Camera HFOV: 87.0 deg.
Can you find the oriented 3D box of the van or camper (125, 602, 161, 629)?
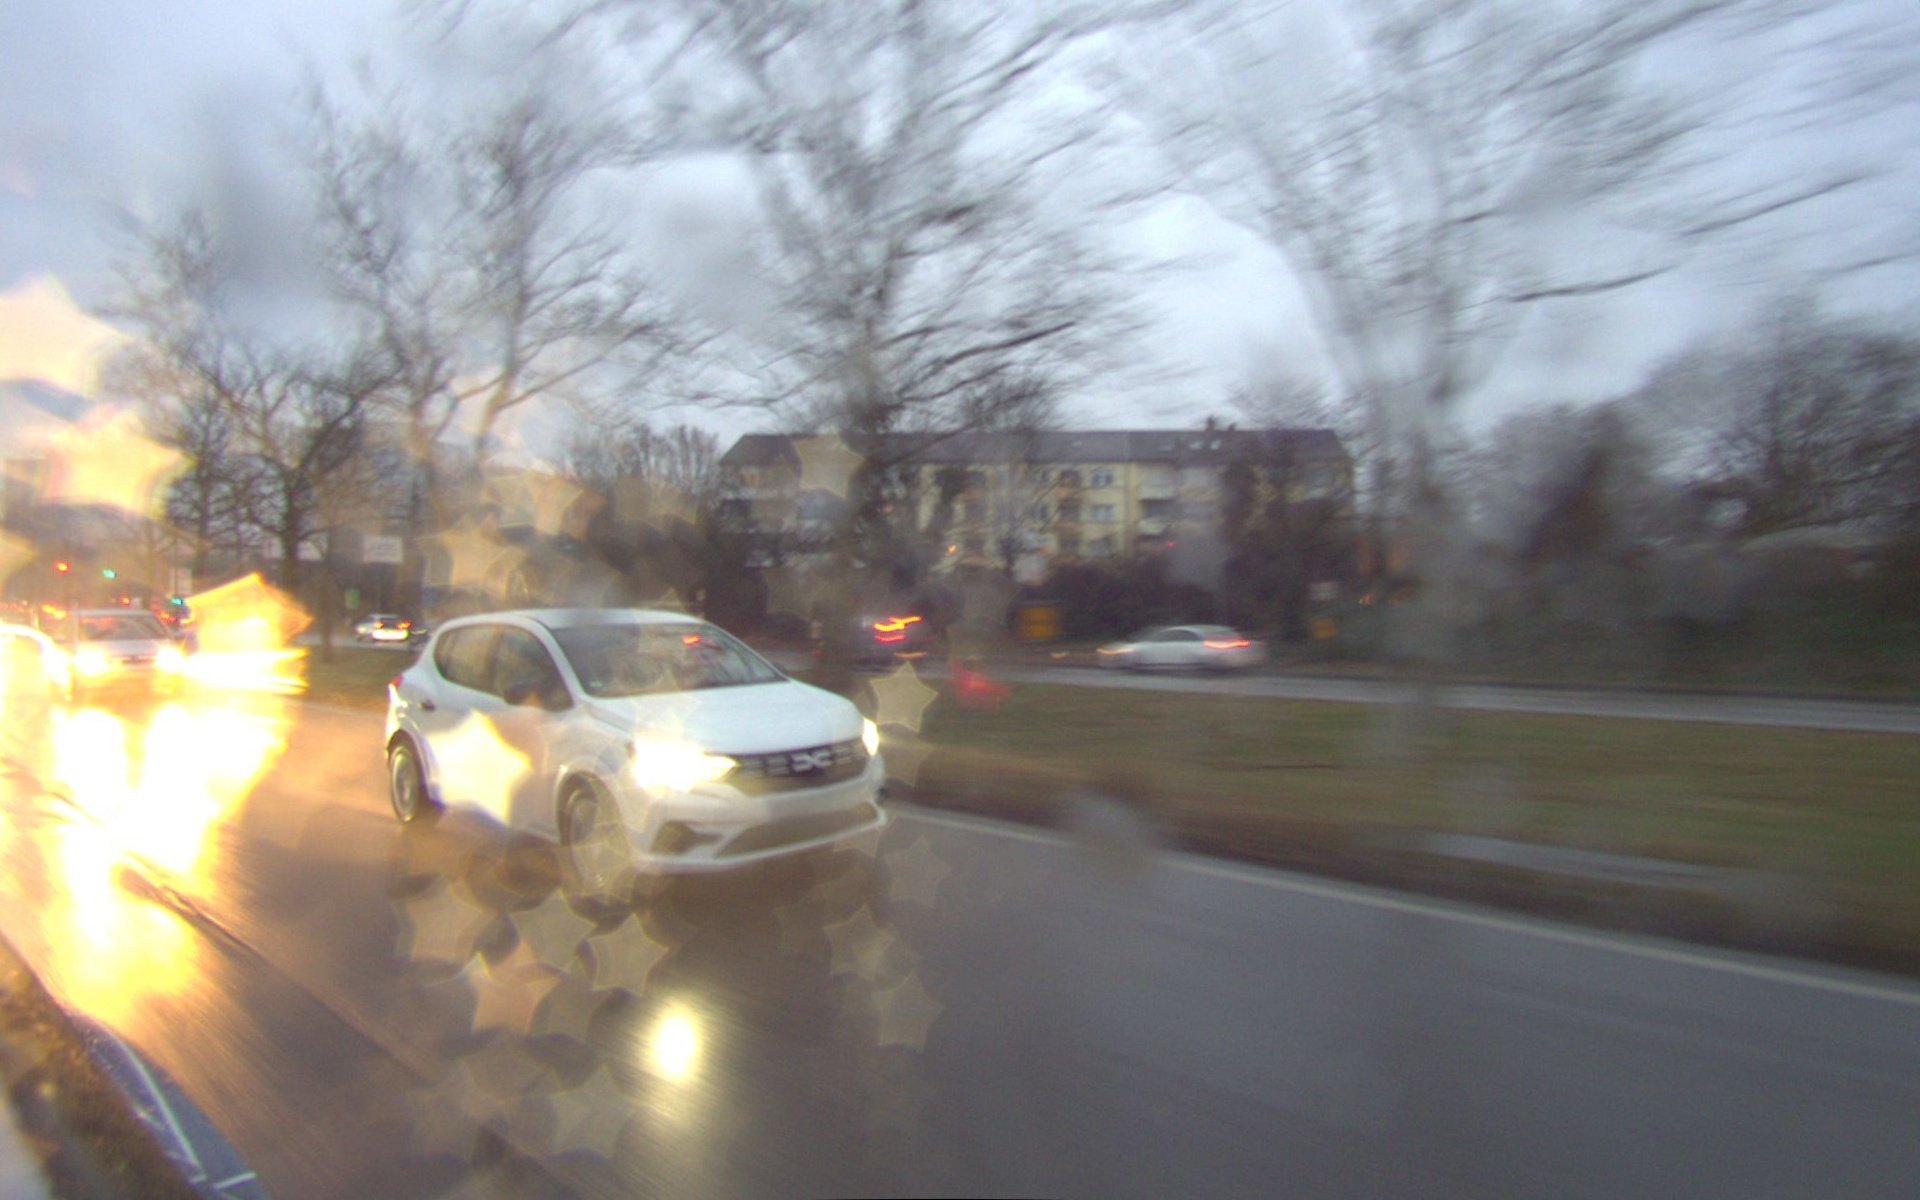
[{"bbox_3d":[-79.825,1.525,98.858,4.737,2.629,1.942,-1,-1,42],"label":"van or camper"}]

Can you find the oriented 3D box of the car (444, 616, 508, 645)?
[{"bbox_3d":[-27.034,1.670,56.422,4.271,1.500,1.700,-1,-1,42],"label":"car"}]

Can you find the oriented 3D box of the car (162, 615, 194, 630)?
[{"bbox_3d":[-68.859,1.999,89.057,3.999,1.302,1.521,-1,-1,42],"label":"car"}]

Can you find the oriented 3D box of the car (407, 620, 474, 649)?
[{"bbox_3d":[-25.746,1.680,50.140,3.955,1.364,1.631,-1,-1,42],"label":"car"}]

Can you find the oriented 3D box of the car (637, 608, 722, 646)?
[{"bbox_3d":[-11.632,1.090,41.869,3.790,1.479,1.614,-1,-1,42],"label":"car"}]

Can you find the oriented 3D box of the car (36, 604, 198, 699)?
[{"bbox_3d":[-15.964,0.893,19.087,4.164,1.611,1.743,-1,-1,42],"label":"car"}]

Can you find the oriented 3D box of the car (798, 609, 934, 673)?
[{"bbox_3d":[-2.743,1.138,28.921,3.979,1.694,1.600,-1,-2,42],"label":"car"}]

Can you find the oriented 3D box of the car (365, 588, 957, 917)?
[{"bbox_3d":[-2.157,0.707,6.527,4.224,1.451,1.706,-1,-1,42],"label":"car"}]

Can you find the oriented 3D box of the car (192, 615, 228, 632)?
[{"bbox_3d":[-59.822,1.884,80.696,3.999,1.321,1.521,-1,-1,42],"label":"car"}]

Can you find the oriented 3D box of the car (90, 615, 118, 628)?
[{"bbox_3d":[-80.937,2.021,95.657,3.998,1.206,1.440,0,0,41],"label":"car"}]

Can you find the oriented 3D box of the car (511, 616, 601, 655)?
[{"bbox_3d":[-17.002,1.455,42.517,4.376,1.545,1.764,-1,-1,42],"label":"car"}]

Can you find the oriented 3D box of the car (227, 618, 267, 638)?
[{"bbox_3d":[-51.715,2.006,73.386,3.955,1.338,1.521,-1,-1,42],"label":"car"}]

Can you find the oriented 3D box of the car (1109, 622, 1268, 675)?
[{"bbox_3d":[6.708,1.378,29.986,4.298,1.405,1.730,-1,-1,42],"label":"car"}]

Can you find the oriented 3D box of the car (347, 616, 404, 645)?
[{"bbox_3d":[-32.765,1.680,56.725,3.955,1.511,1.631,-1,-1,42],"label":"car"}]

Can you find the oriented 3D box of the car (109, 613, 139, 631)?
[{"bbox_3d":[-76.311,1.984,92.387,3.999,1.514,1.553,0,0,42],"label":"car"}]
